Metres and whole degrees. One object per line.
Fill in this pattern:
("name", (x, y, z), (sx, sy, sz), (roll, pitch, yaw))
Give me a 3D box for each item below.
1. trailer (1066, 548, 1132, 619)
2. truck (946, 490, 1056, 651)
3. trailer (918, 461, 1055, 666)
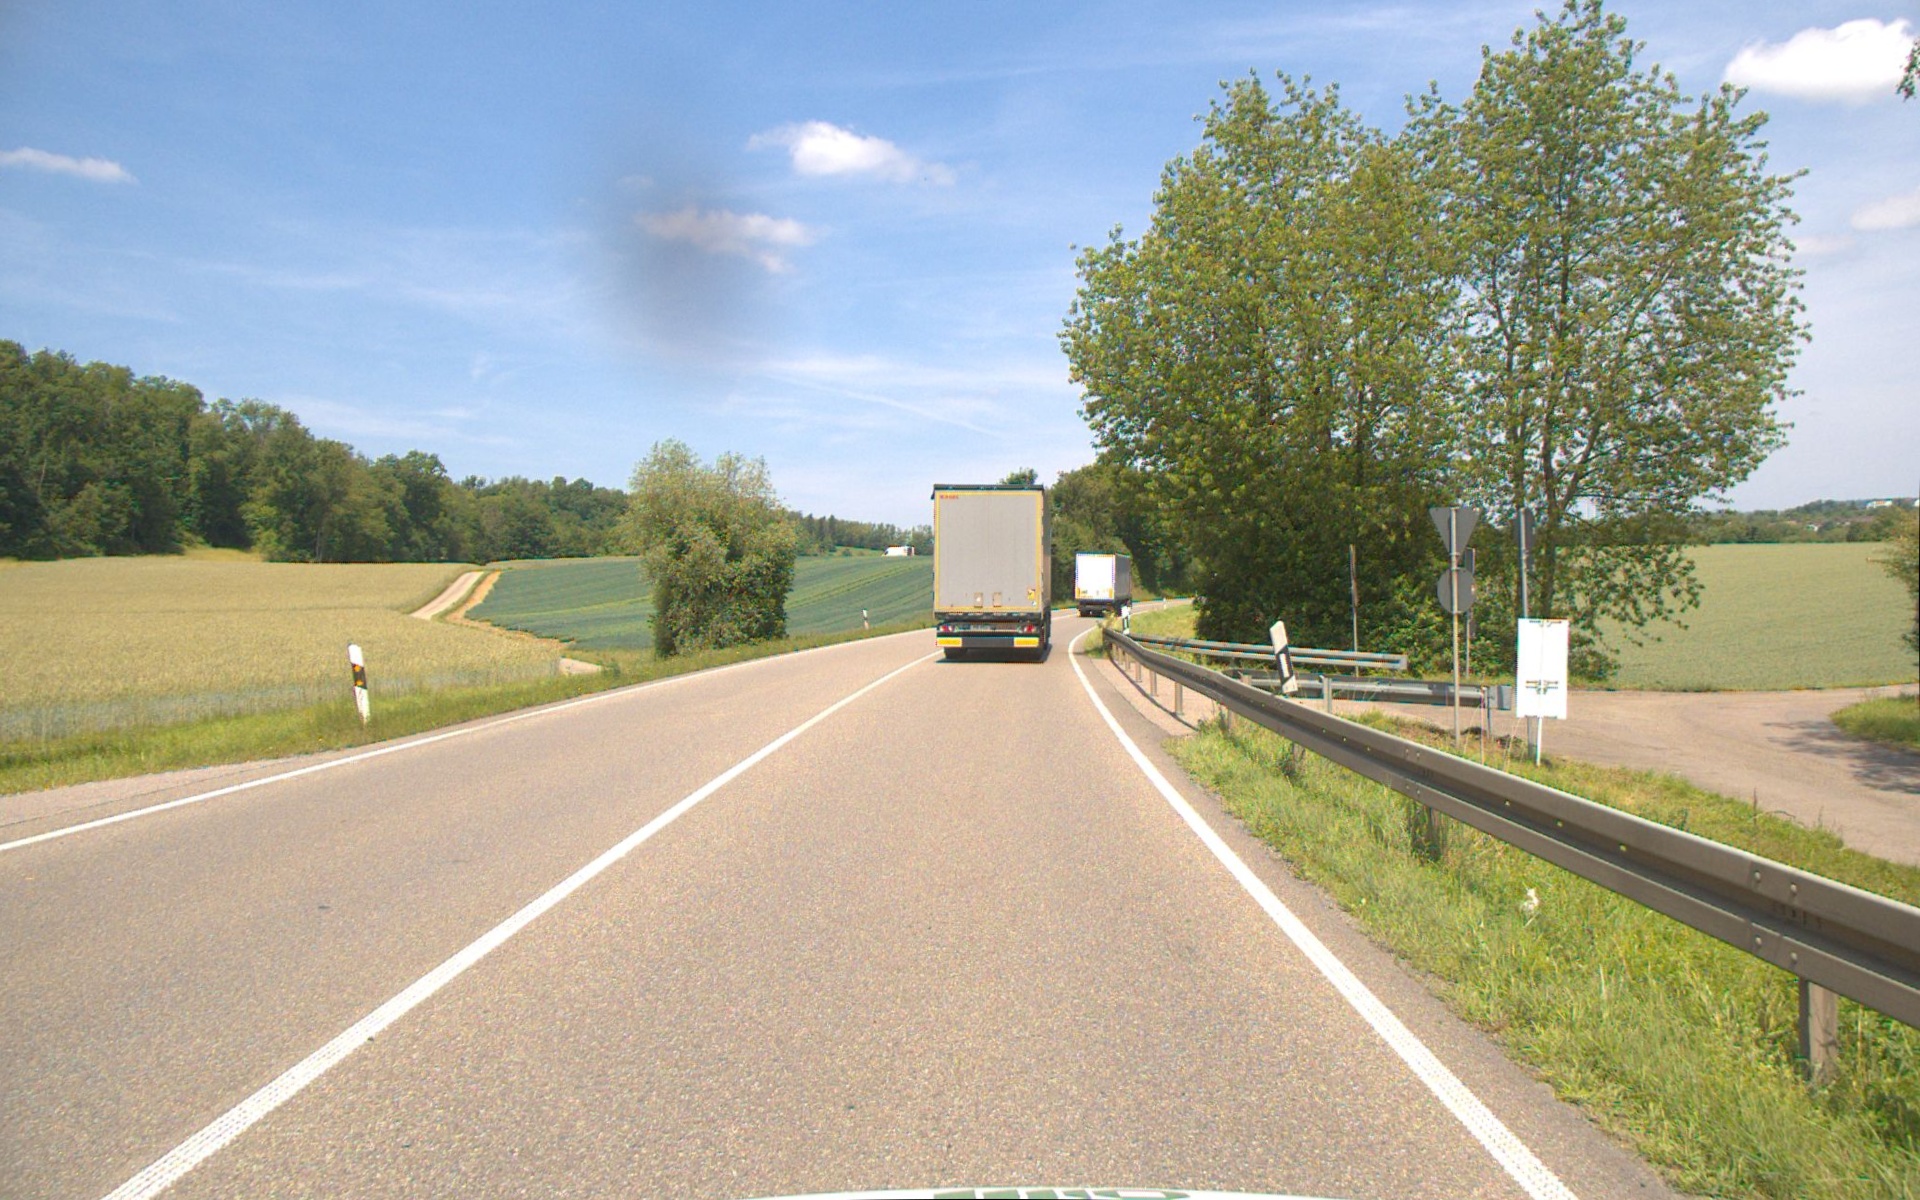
("trailer", (9.424, -1.257, 110.782), (3.293, 4.391, 13.879), (0, 2, 9))
("truck", (1.357, -0.856, 50.459), (3.053, 4.573, 6.814), (0, 0, 4))
("trailer", (0.957, -0.852, 43.998), (3.053, 4.578, 13.892), (0, 0, 3))
